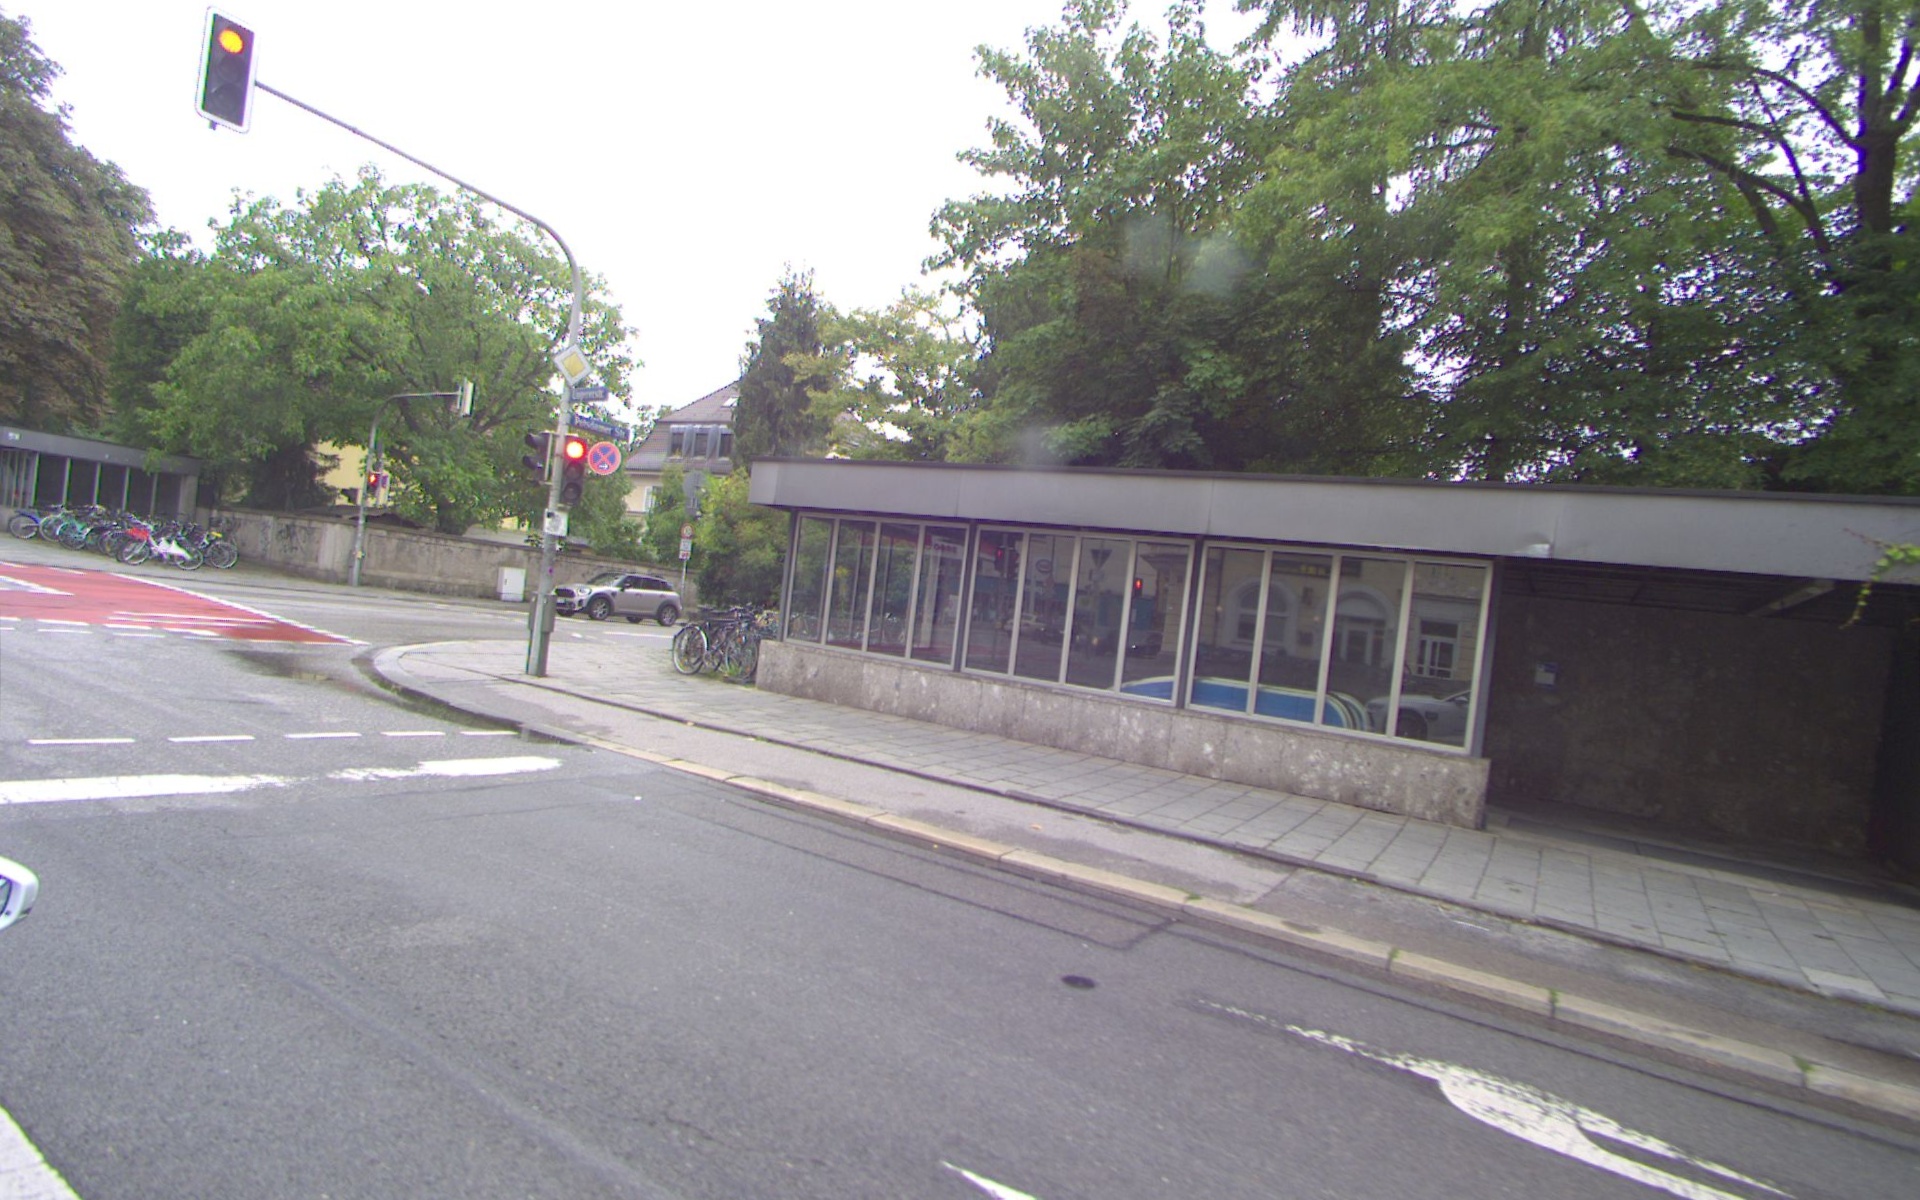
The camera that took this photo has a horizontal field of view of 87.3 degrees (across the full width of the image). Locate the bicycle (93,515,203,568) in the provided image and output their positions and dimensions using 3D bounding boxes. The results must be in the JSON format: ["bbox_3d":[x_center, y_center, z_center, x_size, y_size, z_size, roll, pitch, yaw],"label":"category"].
[{"bbox_3d":[-21.500,-1.546,26.681,0.594,1.084,2.141,7,0,40],"label":"bicycle"}]

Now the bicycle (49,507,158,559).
[{"bbox_3d":[-23.393,-1.820,27.514,0.594,1.099,2.141,7,0,40],"label":"bicycle"}]

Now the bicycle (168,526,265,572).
[{"bbox_3d":[-21.851,-1.489,29.597,0.625,1.026,2.141,7,0,40],"label":"bicycle"}]

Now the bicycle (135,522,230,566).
[{"bbox_3d":[-23.810,-1.708,30.834,0.625,1.026,2.141,7,0,40],"label":"bicycle"}]

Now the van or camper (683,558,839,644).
[{"bbox_3d":[-7.138,0.115,36.729,2.034,2.499,5.557,7,-1,34],"label":"van or camper"}]

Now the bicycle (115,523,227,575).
[{"bbox_3d":[-20.316,-1.308,25.955,0.594,1.026,2.141,7,0,40],"label":"bicycle"}]

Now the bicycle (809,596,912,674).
[{"bbox_3d":[-1.711,0.585,17.114,1.707,1.135,0.469,6,0,32],"label":"bicycle"}]

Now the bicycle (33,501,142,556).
[{"bbox_3d":[-24.066,-1.952,27.786,0.594,1.192,2.141,7,0,40],"label":"bicycle"}]

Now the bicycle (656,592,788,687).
[{"bbox_3d":[-3.417,0.557,14.350,1.859,1.135,0.600,6,0,32],"label":"bicycle"}]

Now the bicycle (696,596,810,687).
[{"bbox_3d":[-3.090,0.604,14.917,1.707,1.135,0.469,6,0,32],"label":"bicycle"}]

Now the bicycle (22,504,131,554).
[{"bbox_3d":[-24.671,-1.962,28.127,0.594,1.075,2.141,7,0,40],"label":"bicycle"}]

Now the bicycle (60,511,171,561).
[{"bbox_3d":[-22.772,-1.710,27.168,0.594,1.026,2.141,7,0,40],"label":"bicycle"}]

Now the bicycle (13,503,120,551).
[{"bbox_3d":[-25.383,-2.060,28.611,0.594,1.026,2.141,7,0,40],"label":"bicycle"}]

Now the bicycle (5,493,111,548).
[{"bbox_3d":[-25.961,-2.275,28.985,0.594,1.233,2.141,7,0,40],"label":"bicycle"}]

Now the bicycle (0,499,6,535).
[{"bbox_3d":[-28.640,-2.518,29.349,1.981,1.027,0.557,7,0,30],"label":"bicycle"}]

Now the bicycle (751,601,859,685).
[{"bbox_3d":[-2.479,0.666,15.980,1.707,1.135,0.469,6,0,32],"label":"bicycle"}]

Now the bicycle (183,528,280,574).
[{"bbox_3d":[-21.151,-1.404,29.252,0.625,1.026,2.141,7,0,40],"label":"bicycle"}]

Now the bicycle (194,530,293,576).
[{"bbox_3d":[-20.518,-1.334,28.846,0.625,1.026,2.141,7,0,40],"label":"bicycle"}]

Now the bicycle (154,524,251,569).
[{"bbox_3d":[-22.529,-1.569,29.960,0.625,1.026,2.141,7,0,40],"label":"bicycle"}]

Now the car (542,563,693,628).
[{"bbox_3d":[-10.652,-0.106,31.543,1.669,1.532,4.170,7,-1,35],"label":"car"}]

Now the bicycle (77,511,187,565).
[{"bbox_3d":[-22.112,-1.635,26.905,0.594,1.114,2.141,7,0,40],"label":"bicycle"}]

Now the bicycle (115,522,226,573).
[{"bbox_3d":[-20.728,-1.365,26.450,0.625,1.026,2.141,7,0,40],"label":"bicycle"}]

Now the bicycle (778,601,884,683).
[{"bbox_3d":[-2.133,0.673,16.471,1.707,1.135,0.469,6,0,32],"label":"bicycle"}]

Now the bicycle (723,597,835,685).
[{"bbox_3d":[-2.788,0.618,15.413,1.707,1.135,0.469,6,0,32],"label":"bicycle"}]

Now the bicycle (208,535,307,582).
[{"bbox_3d":[-19.843,-1.153,28.475,0.625,1.026,2.141,7,0,40],"label":"bicycle"}]
